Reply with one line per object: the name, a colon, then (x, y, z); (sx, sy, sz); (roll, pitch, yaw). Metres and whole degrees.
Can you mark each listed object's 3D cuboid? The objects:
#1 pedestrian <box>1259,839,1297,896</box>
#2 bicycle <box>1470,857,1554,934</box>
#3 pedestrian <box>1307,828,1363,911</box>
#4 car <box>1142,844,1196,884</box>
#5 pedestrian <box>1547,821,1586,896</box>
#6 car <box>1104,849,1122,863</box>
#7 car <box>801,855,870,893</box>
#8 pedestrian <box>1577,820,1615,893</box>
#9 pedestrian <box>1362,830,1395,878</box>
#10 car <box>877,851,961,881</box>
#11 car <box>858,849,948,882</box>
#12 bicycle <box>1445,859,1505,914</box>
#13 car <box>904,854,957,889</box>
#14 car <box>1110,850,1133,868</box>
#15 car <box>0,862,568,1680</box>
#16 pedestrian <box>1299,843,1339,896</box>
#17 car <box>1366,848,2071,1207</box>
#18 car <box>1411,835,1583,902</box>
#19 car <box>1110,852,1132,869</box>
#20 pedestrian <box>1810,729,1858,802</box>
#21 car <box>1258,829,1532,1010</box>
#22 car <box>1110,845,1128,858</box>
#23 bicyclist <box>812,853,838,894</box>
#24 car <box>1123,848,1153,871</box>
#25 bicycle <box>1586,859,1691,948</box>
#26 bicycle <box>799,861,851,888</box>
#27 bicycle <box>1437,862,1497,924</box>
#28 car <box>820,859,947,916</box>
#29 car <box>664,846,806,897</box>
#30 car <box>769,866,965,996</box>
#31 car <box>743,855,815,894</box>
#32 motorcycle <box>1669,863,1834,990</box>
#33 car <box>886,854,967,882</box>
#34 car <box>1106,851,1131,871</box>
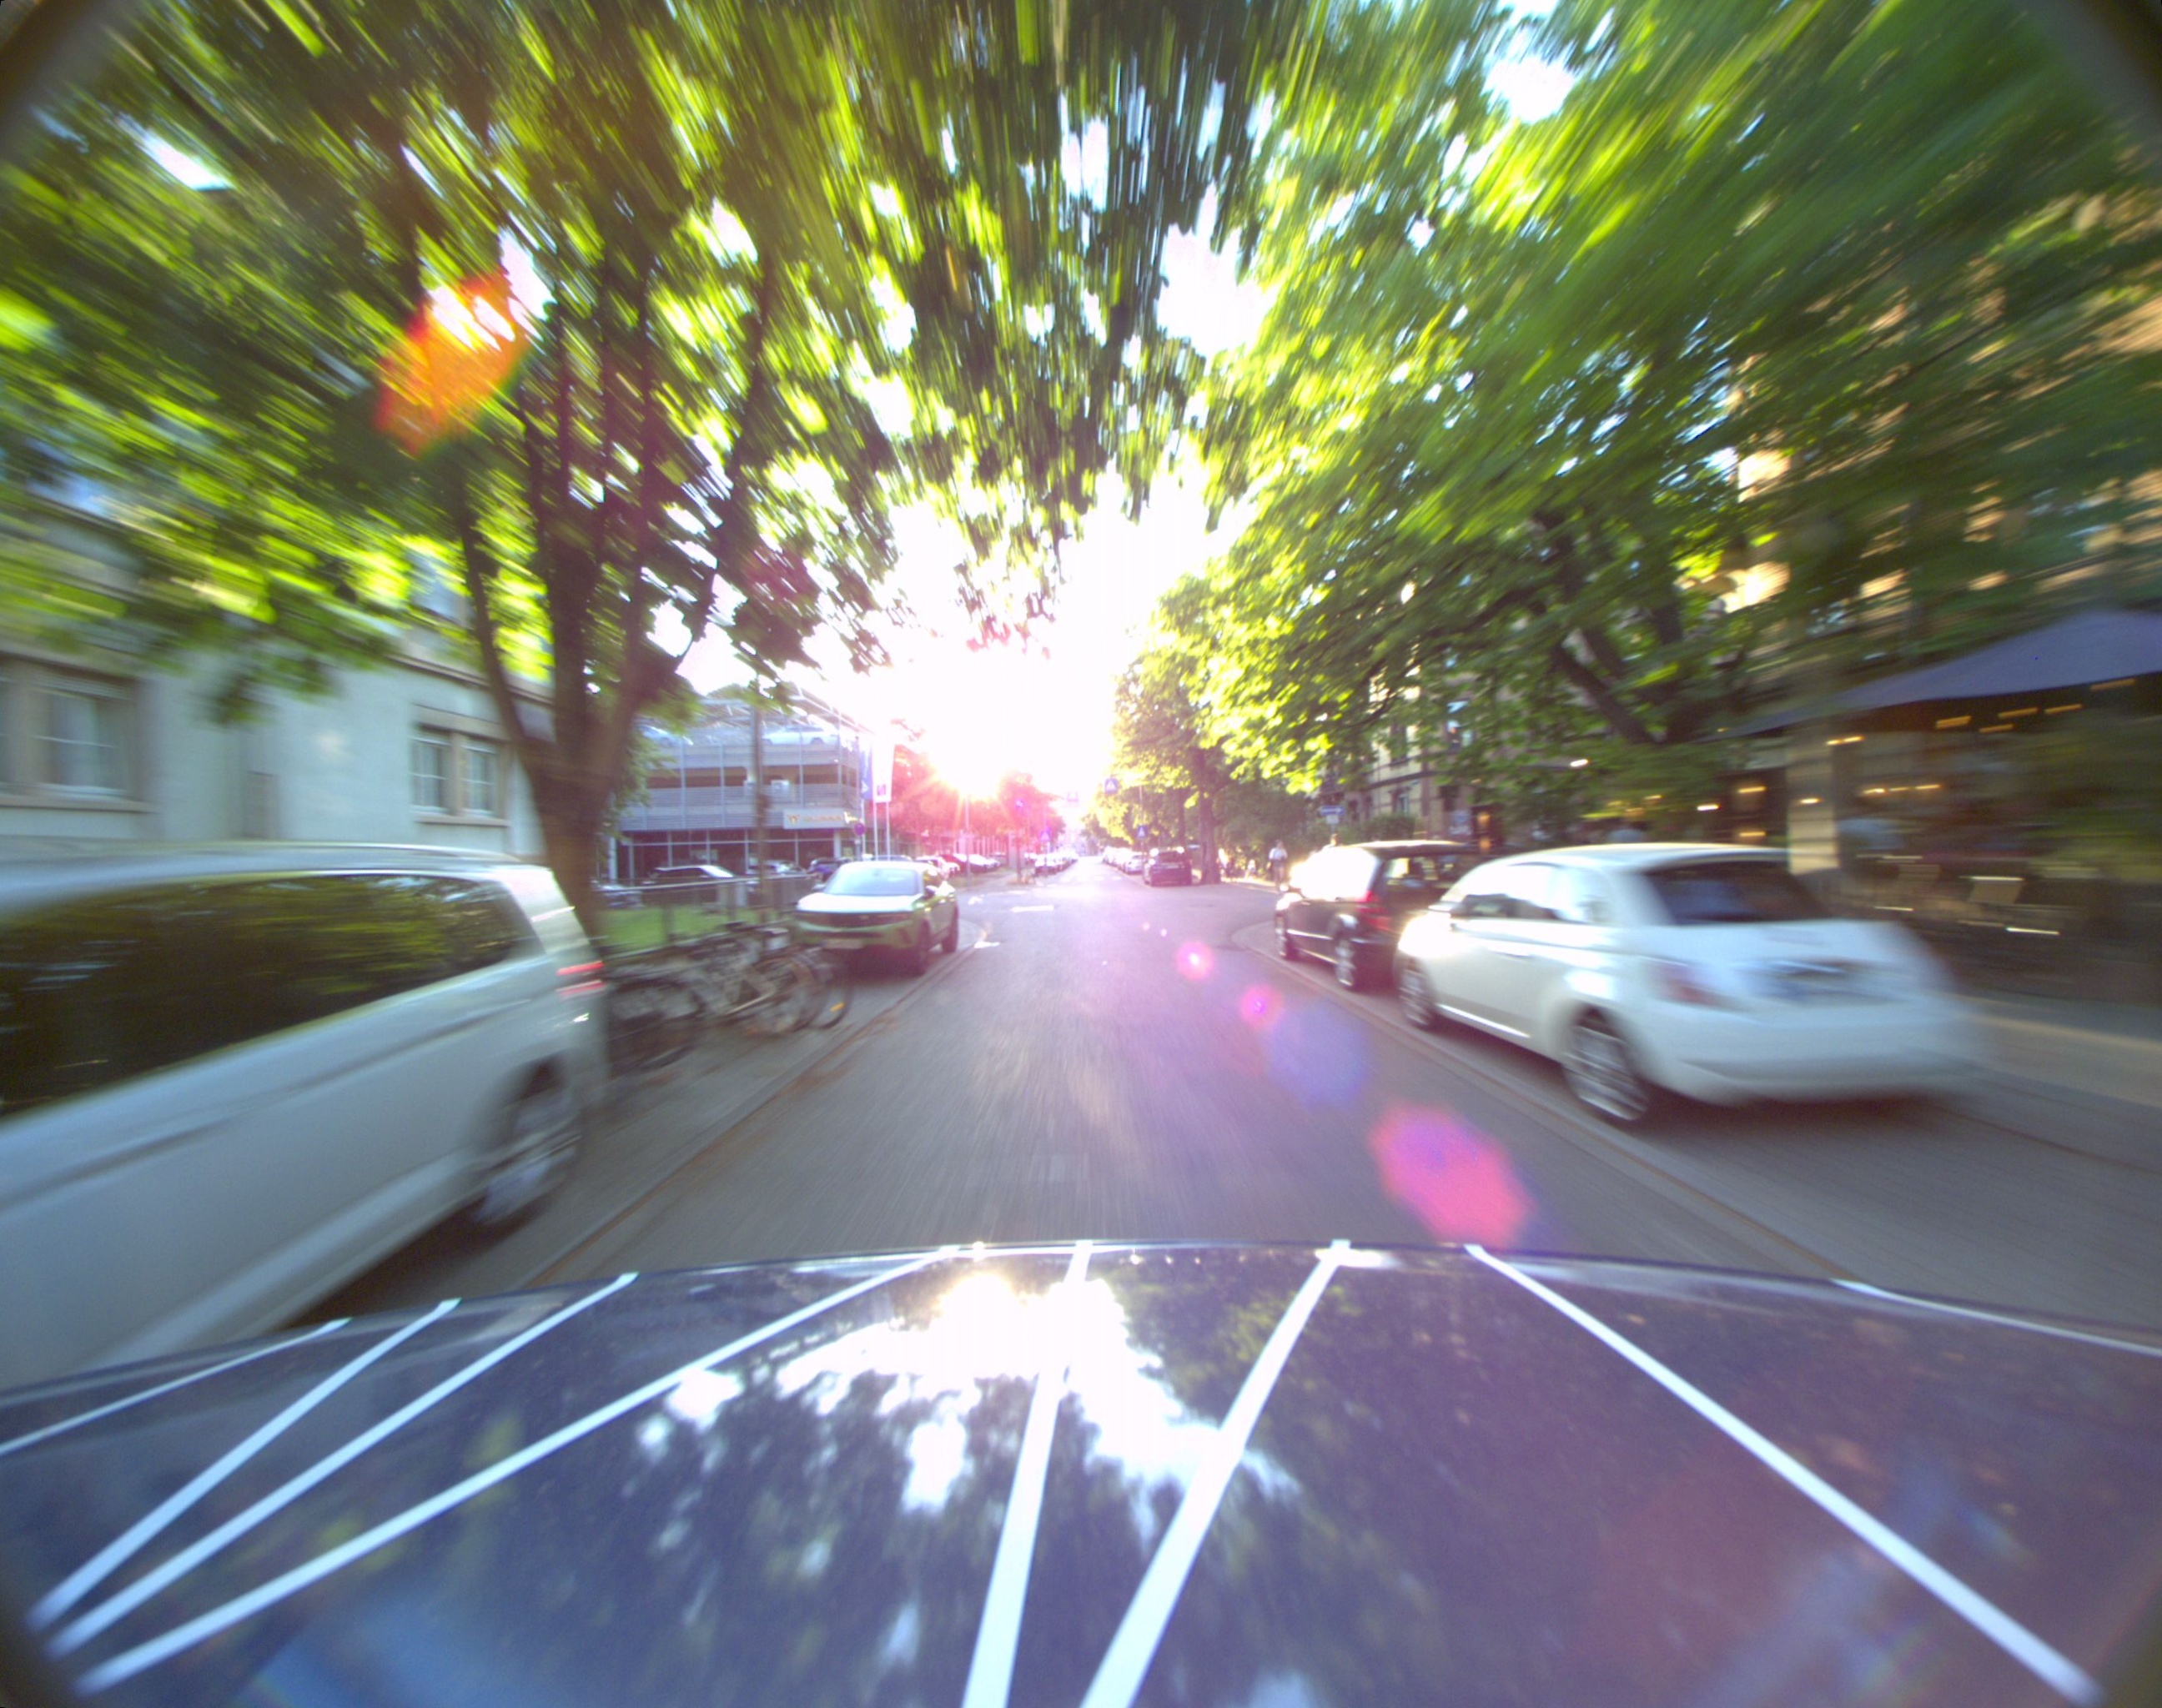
pedestrian: (6.476, 0.430, 24.993); (0.688, 1.824, 1.007); (-1, 1, -26)
bicycle: (7.427, 0.673, 13.174); (0.392, 1.179, 1.957); (-5, 1, 4)
pedestrian: (6.303, 0.369, 18.887); (0.869, 2.002, 1.008); (-1, 1, -20)
car: (4.012, 0.422, 35.327); (1.871, 1.678, 4.591); (-3, 0, 0)
pedestrian: (9.475, 0.083, 14.823); (0.430, 1.442, 0.462); (-1, 0, -31)
car: (3.461, 0.180, 81.874); (1.617, 1.433, 4.104); (-3, 0, -2)
car: (-11.725, 0.911, 36.581); (1.716, 1.596, 4.127); (-2, 1, 3)
pedestrian: (10.452, 0.055, 15.418); (0.430, 1.442, 0.462); (-1, 0, -31)
pedestrian: (12.013, -0.012, 30.686); (0.925, 1.814, 0.779); (-3, 4, -10)
car: (-9.581, 0.700, 45.179); (4.588, 1.607, 1.872); (-2, 0, 0)
car: (-9.926, 0.651, 42.611); (4.588, 1.634, 1.872); (-2, 0, 0)
bicycle: (8.449, 0.679, 16.263); (1.832, 1.092, 0.391); (-1, 0, -38)
car: (-7.253, 0.794, 36.903); (1.767, 1.563, 3.902); (-2, 0, 0)
car: (3.452, 0.391, 65.134); (1.617, 1.433, 4.310); (-3, 0, -2)
car: (-3.076, 0.880, 1.473); (1.669, 1.669, 4.117); (1, 0, -6)
pedestrian: (7.598, 0.479, 24.311); (0.688, 1.621, 1.051); (-1, 1, -26)
car: (3.555, 0.774, 5.253); (1.668, 1.484, 3.710); (-4, 0, 0)
car: (10.568, 0.342, 19.345); (3.861, 1.536, 1.631); (-1, 0, -19)
car: (3.607, 0.543, 69.485); (1.617, 1.433, 4.104); (-3, 0, -2)
pedestrian: (15.135, -1.773, 15.279); (0.524, 1.404, 0.463); (-1, 0, -14)
car: (3.552, 0.641, 9.422); (1.668, 1.667, 3.846); (-4, 0, 0)
car: (4.309, -0.296, 86.428); (1.617, 1.433, 4.104); (-3, 0, -2)
bicyclist: (-10.002, 0.768, 29.698); (0.822, 1.568, 0.510); (-1, 0, 0)
car: (3.960, 0.384, 53.310); (1.617, 1.433, 3.753); (-4, 0, -3)
bicycle: (8.243, 0.685, 11.325); (0.392, 1.137, 1.958); (-4, 1, 10)
bicycle: (-10.042, 0.793, 29.763); (1.903, 1.028, 0.539); (-1, 2, 14)
bicycle: (7.863, 0.761, 15.539); (0.392, 1.137, 1.746); (-4, 1, 4)
car: (-5.942, 0.960, 22.551); (1.816, 1.492, 4.161); (-1, -1, -44)
car: (-11.442, 0.564, 25.270); (3.939, 1.536, 1.633); (-1, 1, 4)
car: (-2.981, 0.992, 11.462); (1.735, 1.547, 3.962); (1, 0, 1)
car: (-14.596, 0.969, 36.881); (1.704, 1.583, 3.693); (-2, 3, 5)
motorcycle: (7.368, 0.734, 8.472); (0.392, 1.179, 1.958); (-3, 1, 10)
car: (-9.599, 0.882, 47.454); (4.588, 1.563, 1.872); (-2, 0, 0)
car: (2.904, 0.522, 59.749); (1.617, 1.433, 4.310); (-3, 0, -2)
